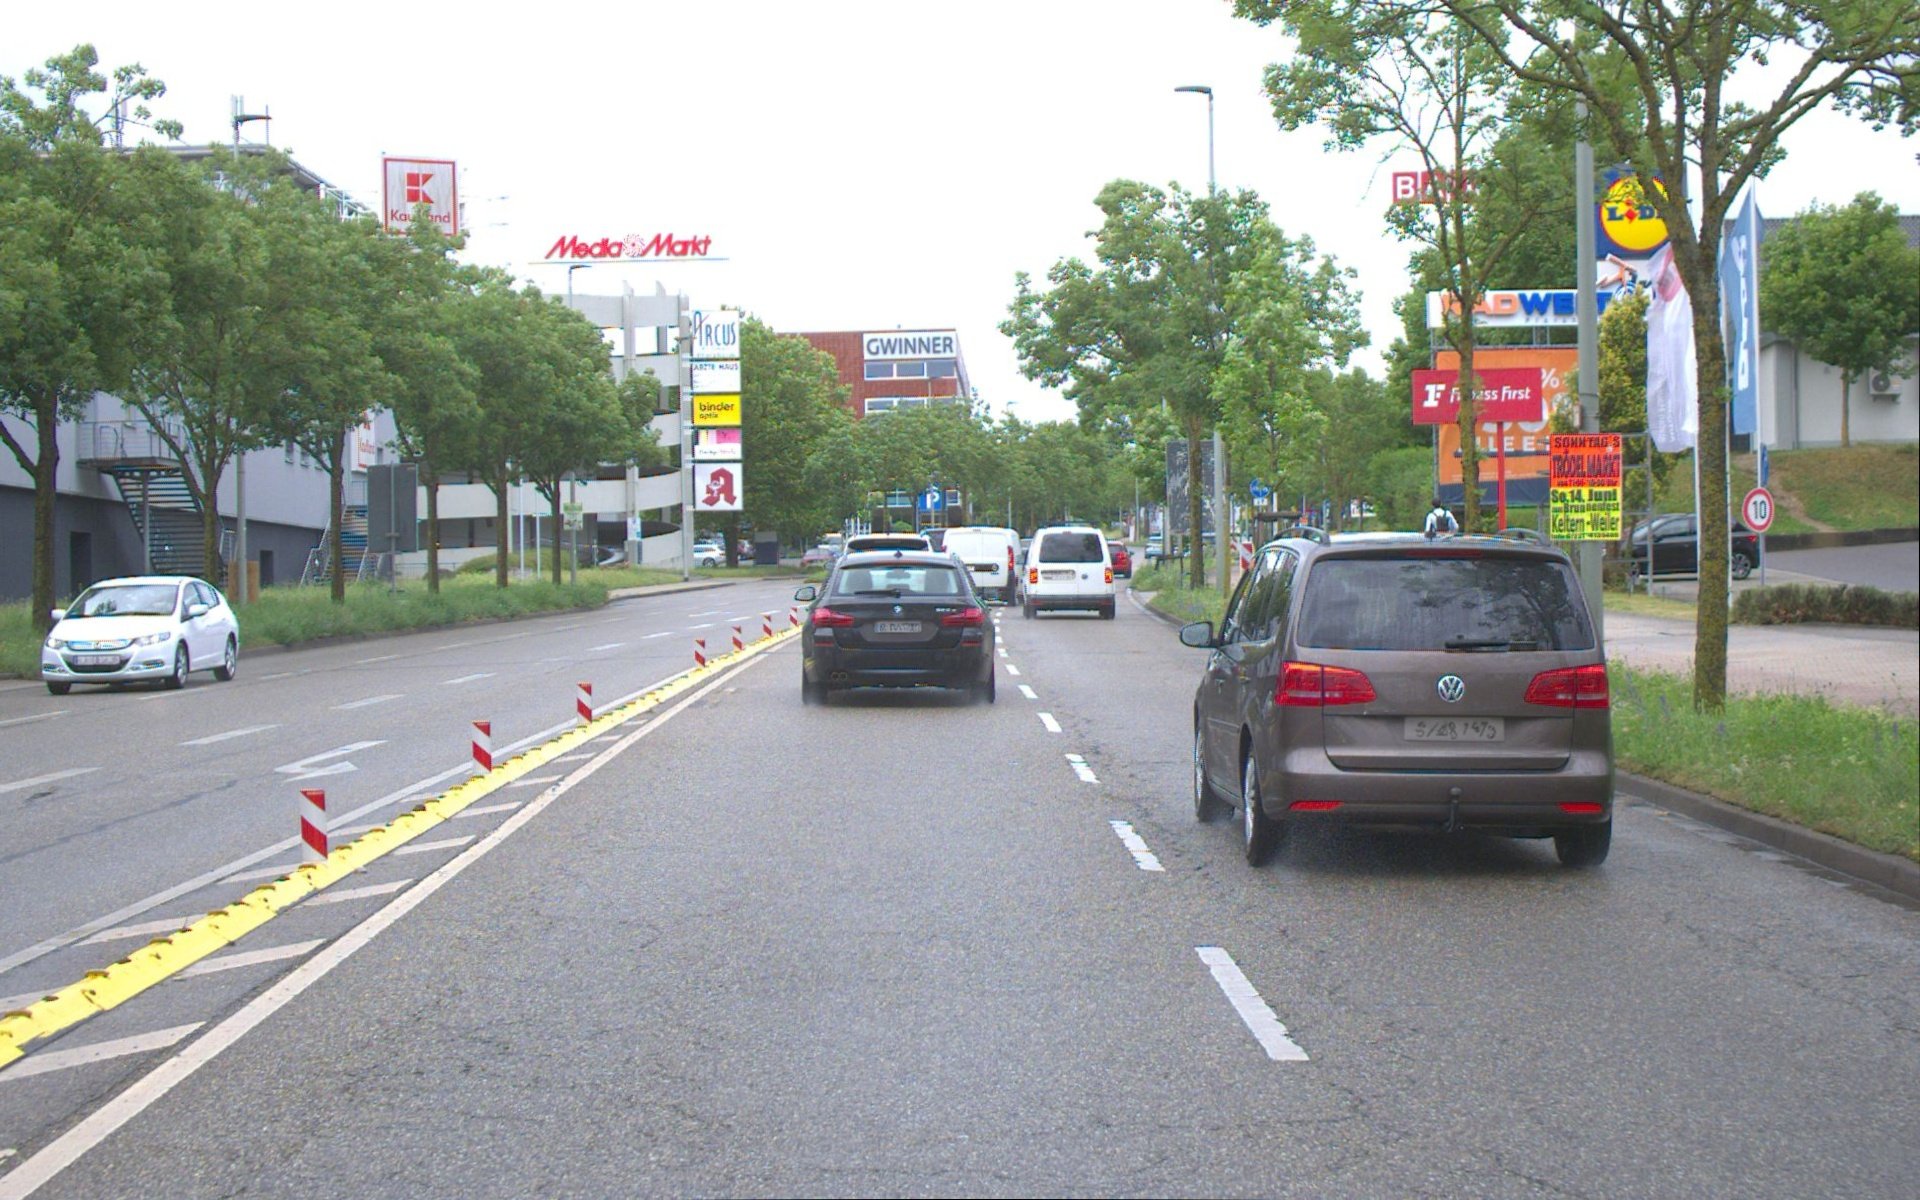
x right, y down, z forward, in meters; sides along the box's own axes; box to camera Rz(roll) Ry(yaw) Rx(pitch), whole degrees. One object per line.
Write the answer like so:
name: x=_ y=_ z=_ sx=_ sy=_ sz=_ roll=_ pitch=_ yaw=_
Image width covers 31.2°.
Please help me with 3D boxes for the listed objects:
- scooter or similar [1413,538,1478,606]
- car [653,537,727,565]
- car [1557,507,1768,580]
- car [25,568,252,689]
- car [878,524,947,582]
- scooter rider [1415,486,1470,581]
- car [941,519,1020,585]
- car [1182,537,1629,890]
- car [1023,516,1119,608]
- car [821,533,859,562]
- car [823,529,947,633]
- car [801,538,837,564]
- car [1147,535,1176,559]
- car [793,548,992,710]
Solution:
scooter or similar: x=9.447 y=-0.550 z=66.925 sx=0.694 sy=1.259 sz=1.401 roll=-4 pitch=2 yaw=-14
car: x=-17.371 y=-3.148 z=221.111 sx=4.598 sy=1.740 sz=1.967 roll=0 pitch=2 yaw=-1
car: x=15.232 y=-1.232 z=74.589 sx=4.089 sy=1.433 sz=1.798 roll=-2 pitch=3 yaw=-12
car: x=-10.532 y=0.328 z=44.373 sx=1.741 sy=1.401 sz=4.469 roll=-3 pitch=1 yaw=1
car: x=-1.254 y=-1.267 z=92.647 sx=1.794 sy=1.505 sz=4.000 roll=1 pitch=1 yaw=0
scooter rider: x=9.397 y=-1.291 z=66.927 sx=0.694 sy=1.814 sz=0.858 roll=-4 pitch=1 yaw=-14
car: x=0.494 y=-1.126 z=80.947 sx=1.794 sy=1.505 sz=4.000 roll=1 pitch=1 yaw=1
car: x=2.154 y=0.478 z=17.692 sx=1.685 sy=1.575 sz=4.219 roll=1 pitch=1 yaw=-1
car: x=2.223 y=-0.775 z=68.167 sx=1.827 sy=1.753 sz=4.000 roll=1 pitch=1 yaw=3
car: x=-8.041 y=-3.526 z=230.158 sx=2.039 sy=1.756 sz=4.945 roll=0 pitch=2 yaw=4
car: x=-1.107 y=-0.295 z=52.592 sx=1.794 sy=1.505 sz=4.000 roll=1 pitch=1 yaw=0
car: x=-8.855 y=-3.090 z=215.752 sx=1.933 sy=1.603 sz=4.711 roll=0 pitch=1 yaw=2
car: x=13.070 y=-3.401 z=222.682 sx=1.794 sy=1.505 sz=4.000 roll=1 pitch=1 yaw=3
car: x=-0.650 y=0.237 z=33.896 sx=1.827 sy=1.463 sz=4.000 roll=1 pitch=1 yaw=-1
